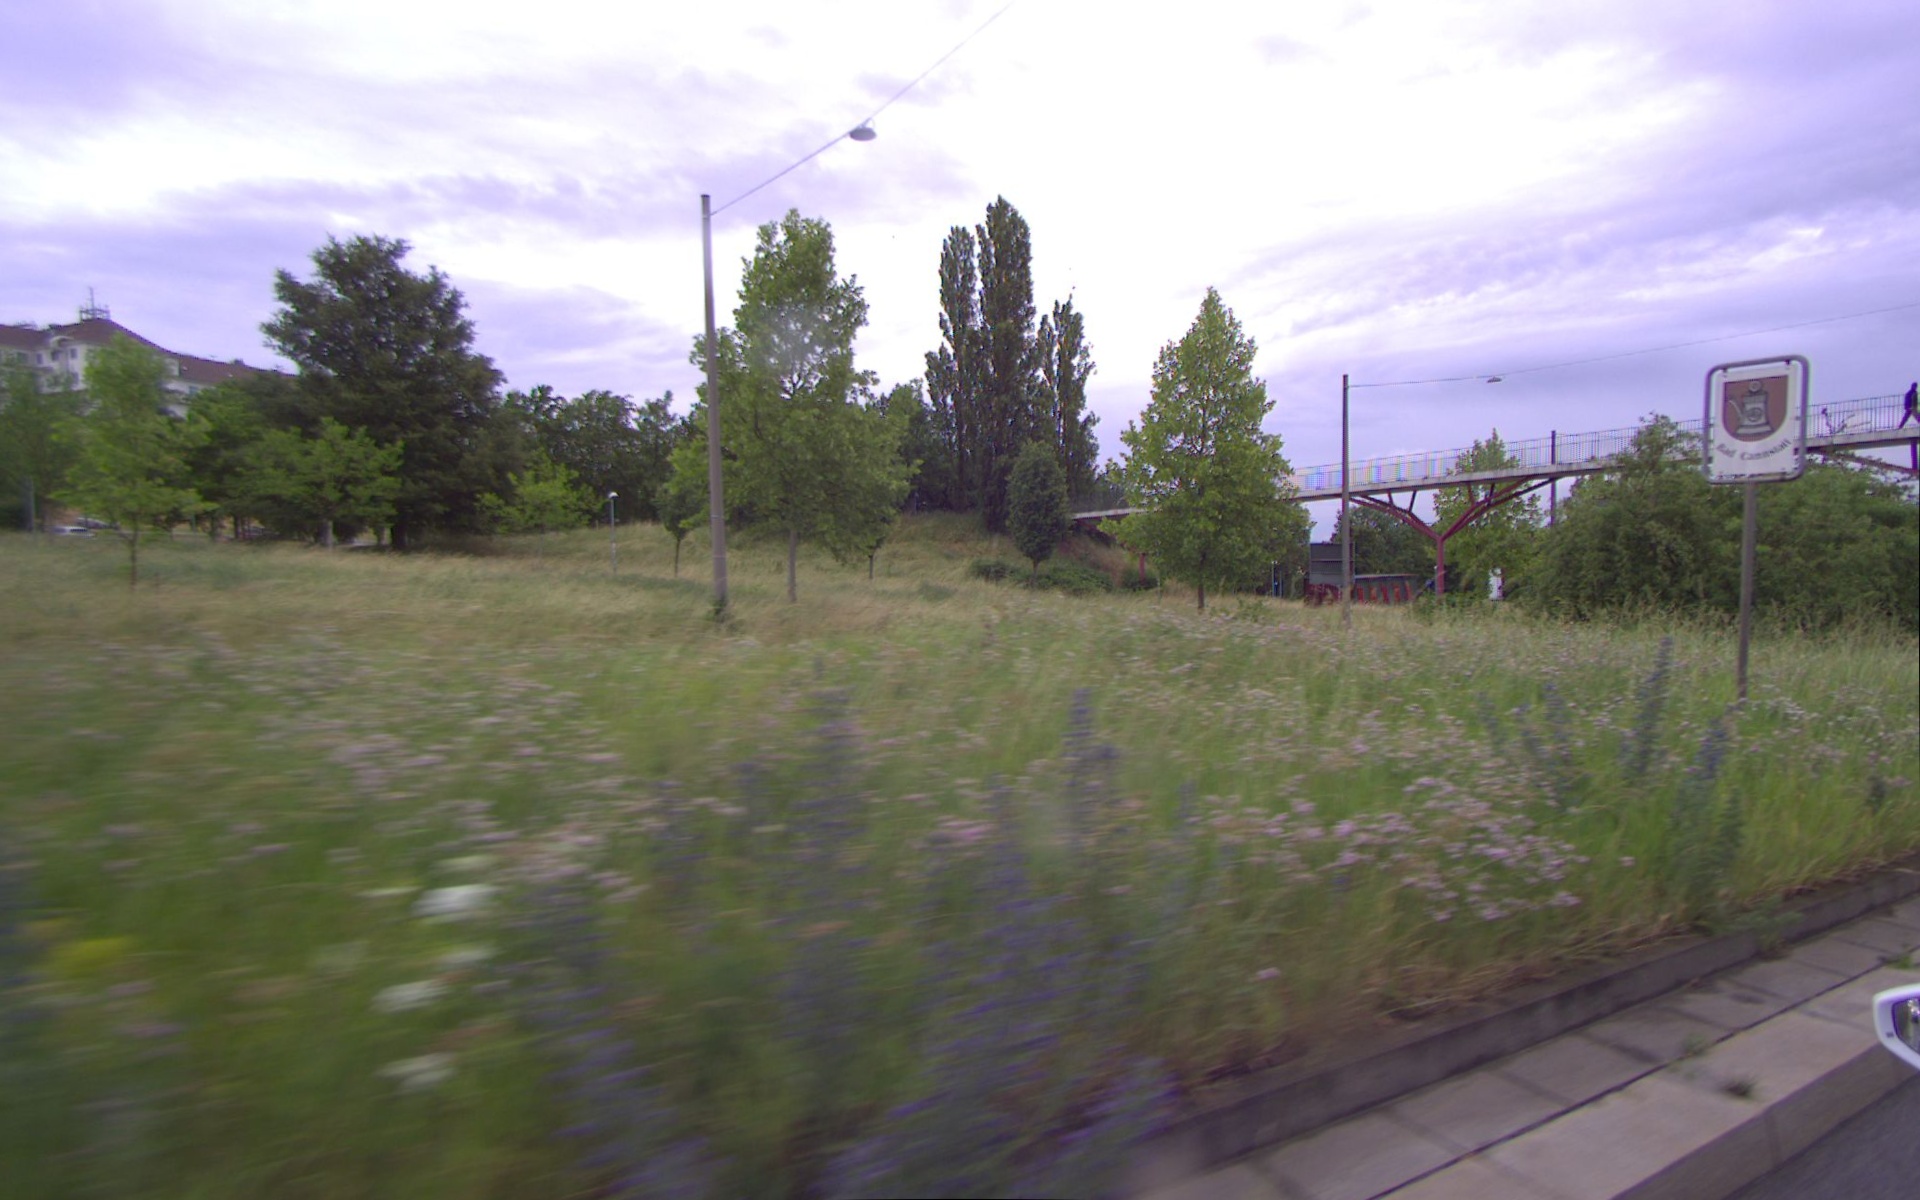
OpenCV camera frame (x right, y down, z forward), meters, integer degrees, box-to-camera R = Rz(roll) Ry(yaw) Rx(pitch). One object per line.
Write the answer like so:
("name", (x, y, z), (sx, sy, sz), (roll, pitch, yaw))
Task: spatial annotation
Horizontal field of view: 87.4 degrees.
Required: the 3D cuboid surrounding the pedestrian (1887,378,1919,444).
("pedestrian", (34.648, -6.899, 36.764), (0.726, 2.171, 0.907), (1, -2, -39))
